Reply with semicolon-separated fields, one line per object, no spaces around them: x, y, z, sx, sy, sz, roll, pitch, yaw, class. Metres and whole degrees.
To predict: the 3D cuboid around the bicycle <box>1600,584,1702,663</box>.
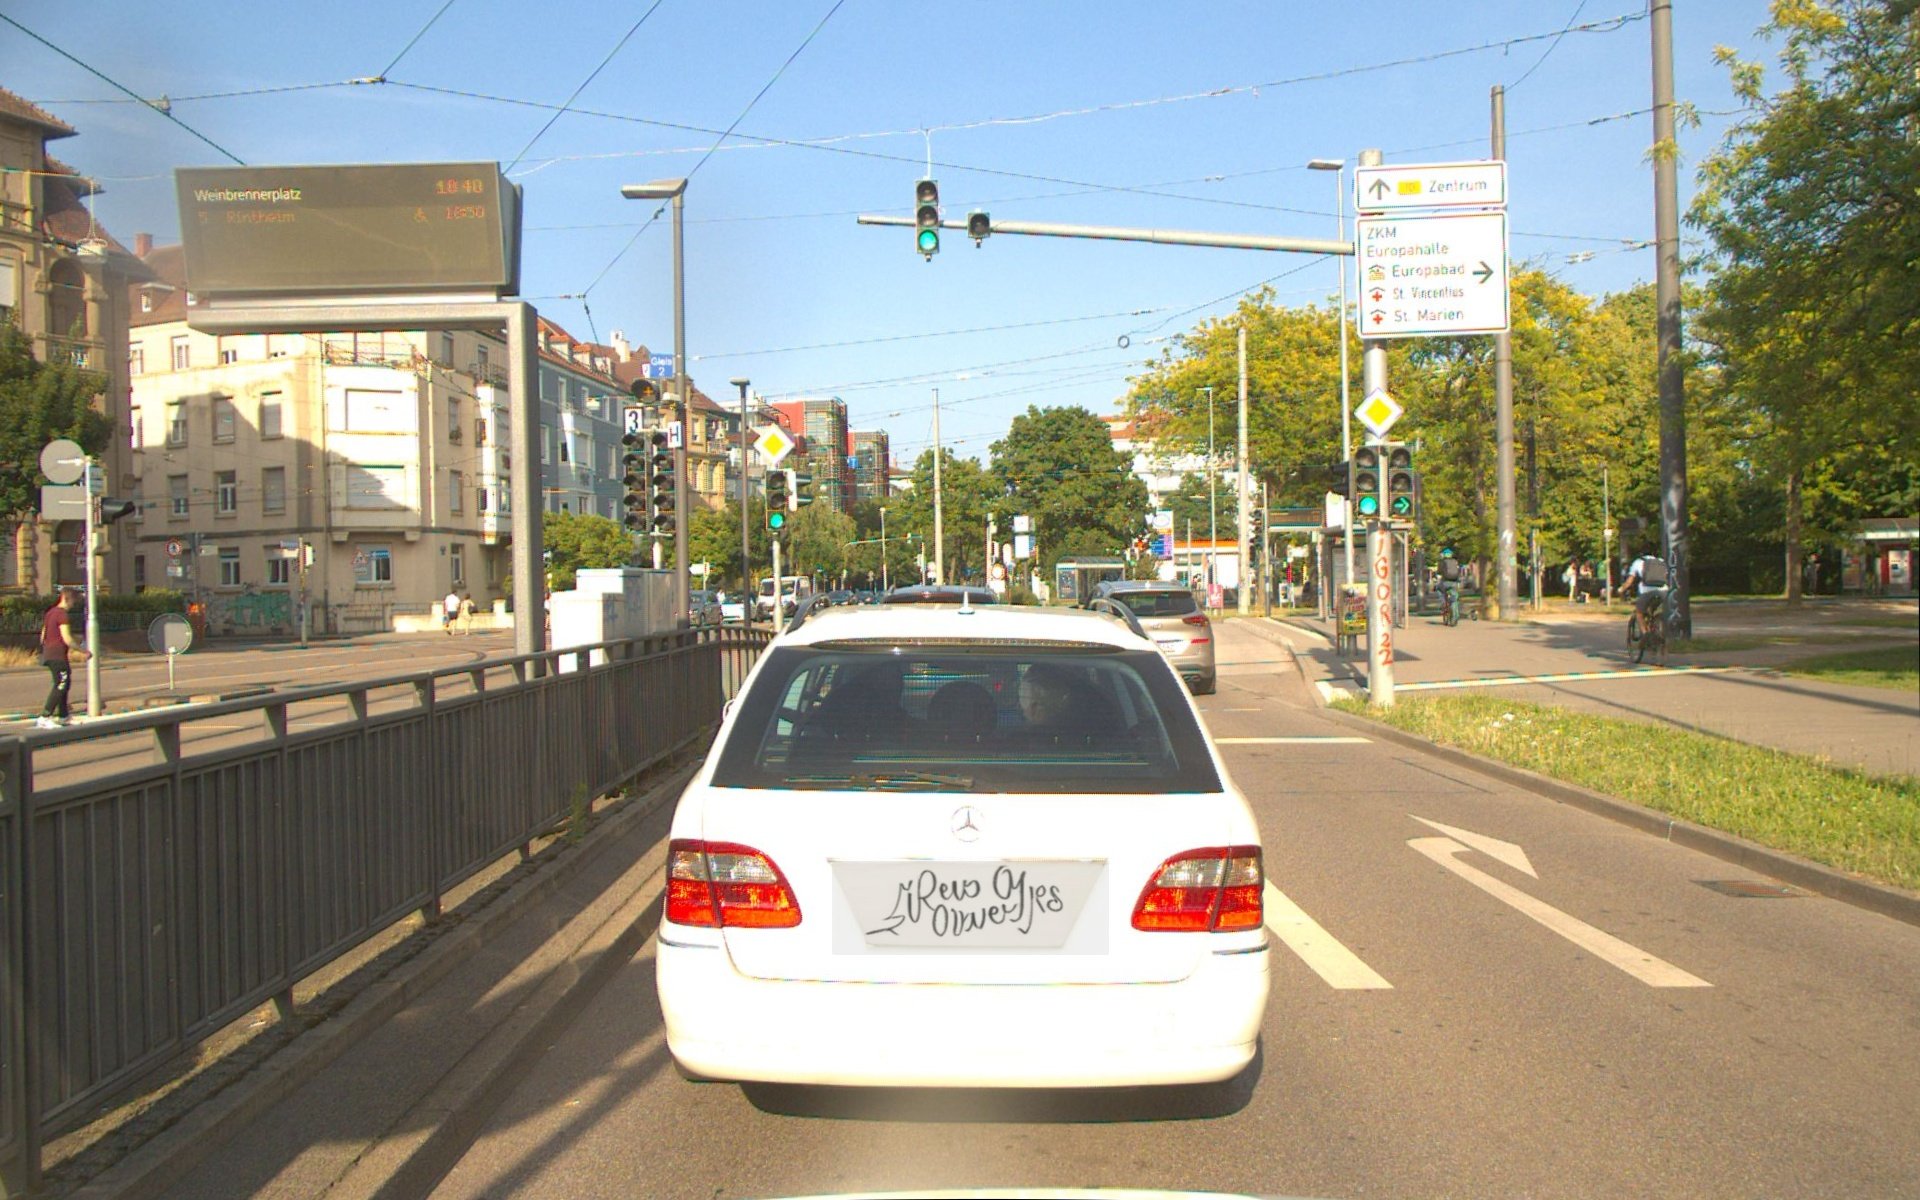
10.392;0.337;24.958;0.627;1.107;1.939;-4;0;-1;bicycle

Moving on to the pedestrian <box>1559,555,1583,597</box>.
23.978;-0.929;64.924;0.628;1.638;0.690;-1;0;-1;pedestrian

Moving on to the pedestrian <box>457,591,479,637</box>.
-20.151;0.569;67.725;0.661;1.880;0.649;-1;0;-3;pedestrian

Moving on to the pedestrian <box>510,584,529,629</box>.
-18.932;0.282;71.080;0.572;1.914;0.626;-1;0;-2;pedestrian

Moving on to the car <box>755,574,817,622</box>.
-8.746;-0.130;83.632;2.131;2.278;5.256;-1;1;4;car

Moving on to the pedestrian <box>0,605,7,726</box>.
-13.159;0.884;21.958;0.578;1.617;0.715;-1;0;-5;pedestrian

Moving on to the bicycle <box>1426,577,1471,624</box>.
12.002;0.001;40.693;0.627;1.107;1.734;-4;0;3;bicycle

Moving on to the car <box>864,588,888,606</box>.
-7.322;-0.292;144.419;1.654;1.466;4.002;-2;1;3;car

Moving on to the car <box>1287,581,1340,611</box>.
20.263;-0.234;94.671;1.818;1.542;3.994;-3;0;29;car

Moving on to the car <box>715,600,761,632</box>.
-11.533;0.813;86.130;1.757;1.482;4.001;-2;1;1;car

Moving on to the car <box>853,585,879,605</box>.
-7.513;-0.415;132.193;1.600;1.458;3.630;-1;1;3;car

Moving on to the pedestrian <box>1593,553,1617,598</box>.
24.533;-0.927;62.911;0.628;1.694;0.690;-1;0;-1;pedestrian

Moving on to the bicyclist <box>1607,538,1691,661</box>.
10.372;-0.008;24.934;0.636;1.776;1.140;-4;0;-2;bicyclist

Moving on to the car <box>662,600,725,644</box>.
-10.625;0.848;66.194;1.641;1.552;4.126;-1;2;3;car

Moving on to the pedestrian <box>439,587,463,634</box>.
-20.842;0.424;67.723;0.644;1.914;0.627;-1;0;14;pedestrian

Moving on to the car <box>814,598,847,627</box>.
-8.009;0.750;102.534;1.731;1.520;4.744;-2;2;-1;car

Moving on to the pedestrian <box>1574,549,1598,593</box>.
24.261;-1.124;64.081;0.628;1.694;0.690;-1;0;-1;pedestrian

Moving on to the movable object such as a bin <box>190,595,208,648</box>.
-25.597;0.704;55.617;0.261;1.739;2.357;-2;0;-31;movable object such as a bin

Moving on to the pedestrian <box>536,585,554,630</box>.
-17.898;0.319;71.328;0.573;1.914;0.626;-1;0;-3;pedestrian

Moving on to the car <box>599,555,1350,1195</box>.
0.012;0.647;5.878;1.798;1.527;3.814;0;0;-1;car

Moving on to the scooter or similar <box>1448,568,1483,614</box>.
13.945;-0.237;45.639;0.345;1.253;1.131;-1;0;-15;scooter or similar

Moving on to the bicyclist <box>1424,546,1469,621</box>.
11.959;-0.398;40.676;0.705;1.776;1.140;-4;0;3;bicyclist

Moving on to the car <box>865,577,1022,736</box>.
-0.196;0.570;18.962;1.608;1.628;3.814;0;0;-1;car

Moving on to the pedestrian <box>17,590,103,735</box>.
-10.947;0.748;20.138;0.871;1.699;0.665;-2;0;-29;pedestrian

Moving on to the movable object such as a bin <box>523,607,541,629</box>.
-18.612;0.779;71.953;0.571;0.963;0.663;-1;0;0;movable object such as a bin

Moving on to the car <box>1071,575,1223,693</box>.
2.712;0.453;24.790;1.798;1.628;3.814;0;0;-1;car
